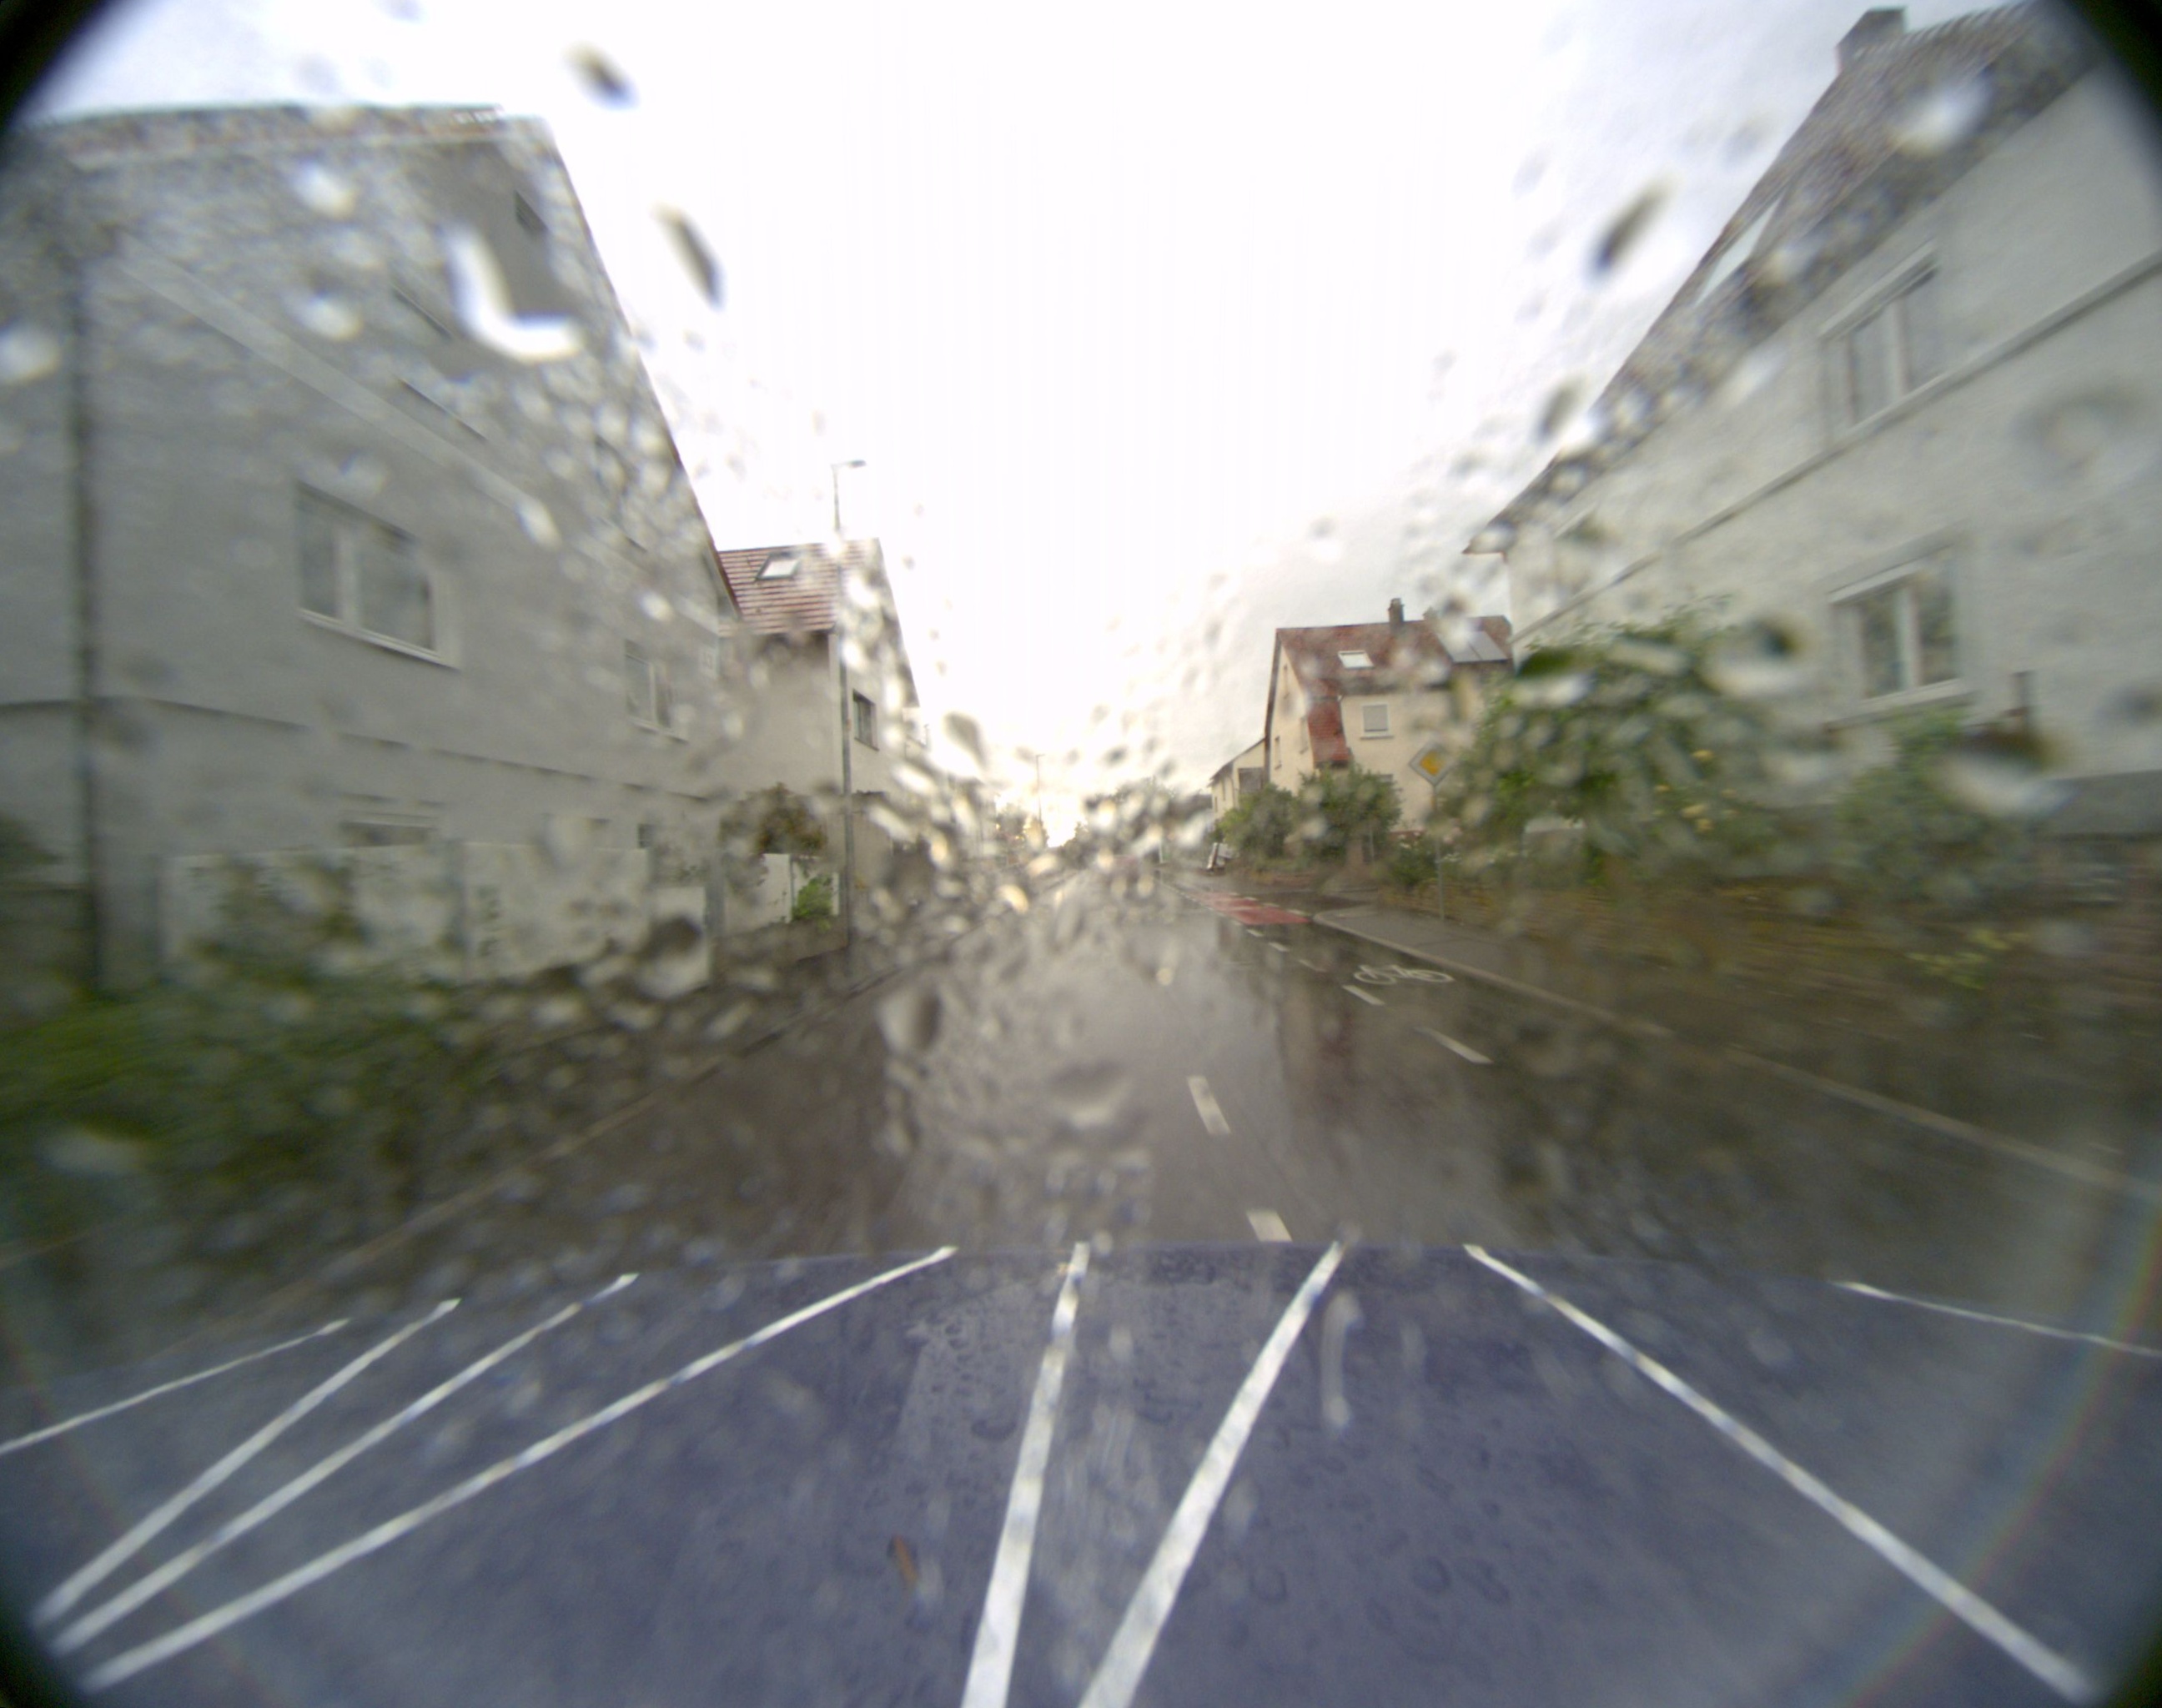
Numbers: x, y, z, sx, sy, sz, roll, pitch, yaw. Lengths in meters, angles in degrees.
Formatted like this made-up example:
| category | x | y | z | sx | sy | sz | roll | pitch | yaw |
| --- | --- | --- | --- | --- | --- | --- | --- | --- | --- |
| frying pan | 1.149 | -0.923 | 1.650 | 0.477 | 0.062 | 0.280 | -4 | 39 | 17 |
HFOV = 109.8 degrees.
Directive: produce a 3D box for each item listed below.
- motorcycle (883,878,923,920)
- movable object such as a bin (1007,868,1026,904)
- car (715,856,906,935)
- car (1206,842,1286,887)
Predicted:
| category | x | y | z | sx | sy | sz | roll | pitch | yaw |
| --- | --- | --- | --- | --- | --- | --- | --- | --- | --- |
| motorcycle | -4.584 | 1.144 | 19.534 | 0.557 | 1.007 | 1.147 | -2 | 1 | -37 |
| movable object such as a bin | -2.166 | 1.062 | 25.601 | 0.569 | 1.179 | 0.538 | -2 | 0 | 0 |
| car | -5.966 | 0.893 | 17.078 | 3.596 | 1.574 | 1.819 | -1 | 1 | 0 |
| car | 9.582 | 0.593 | 44.392 | 3.997 | 1.964 | 1.873 | 9 | 0 | -1 |
